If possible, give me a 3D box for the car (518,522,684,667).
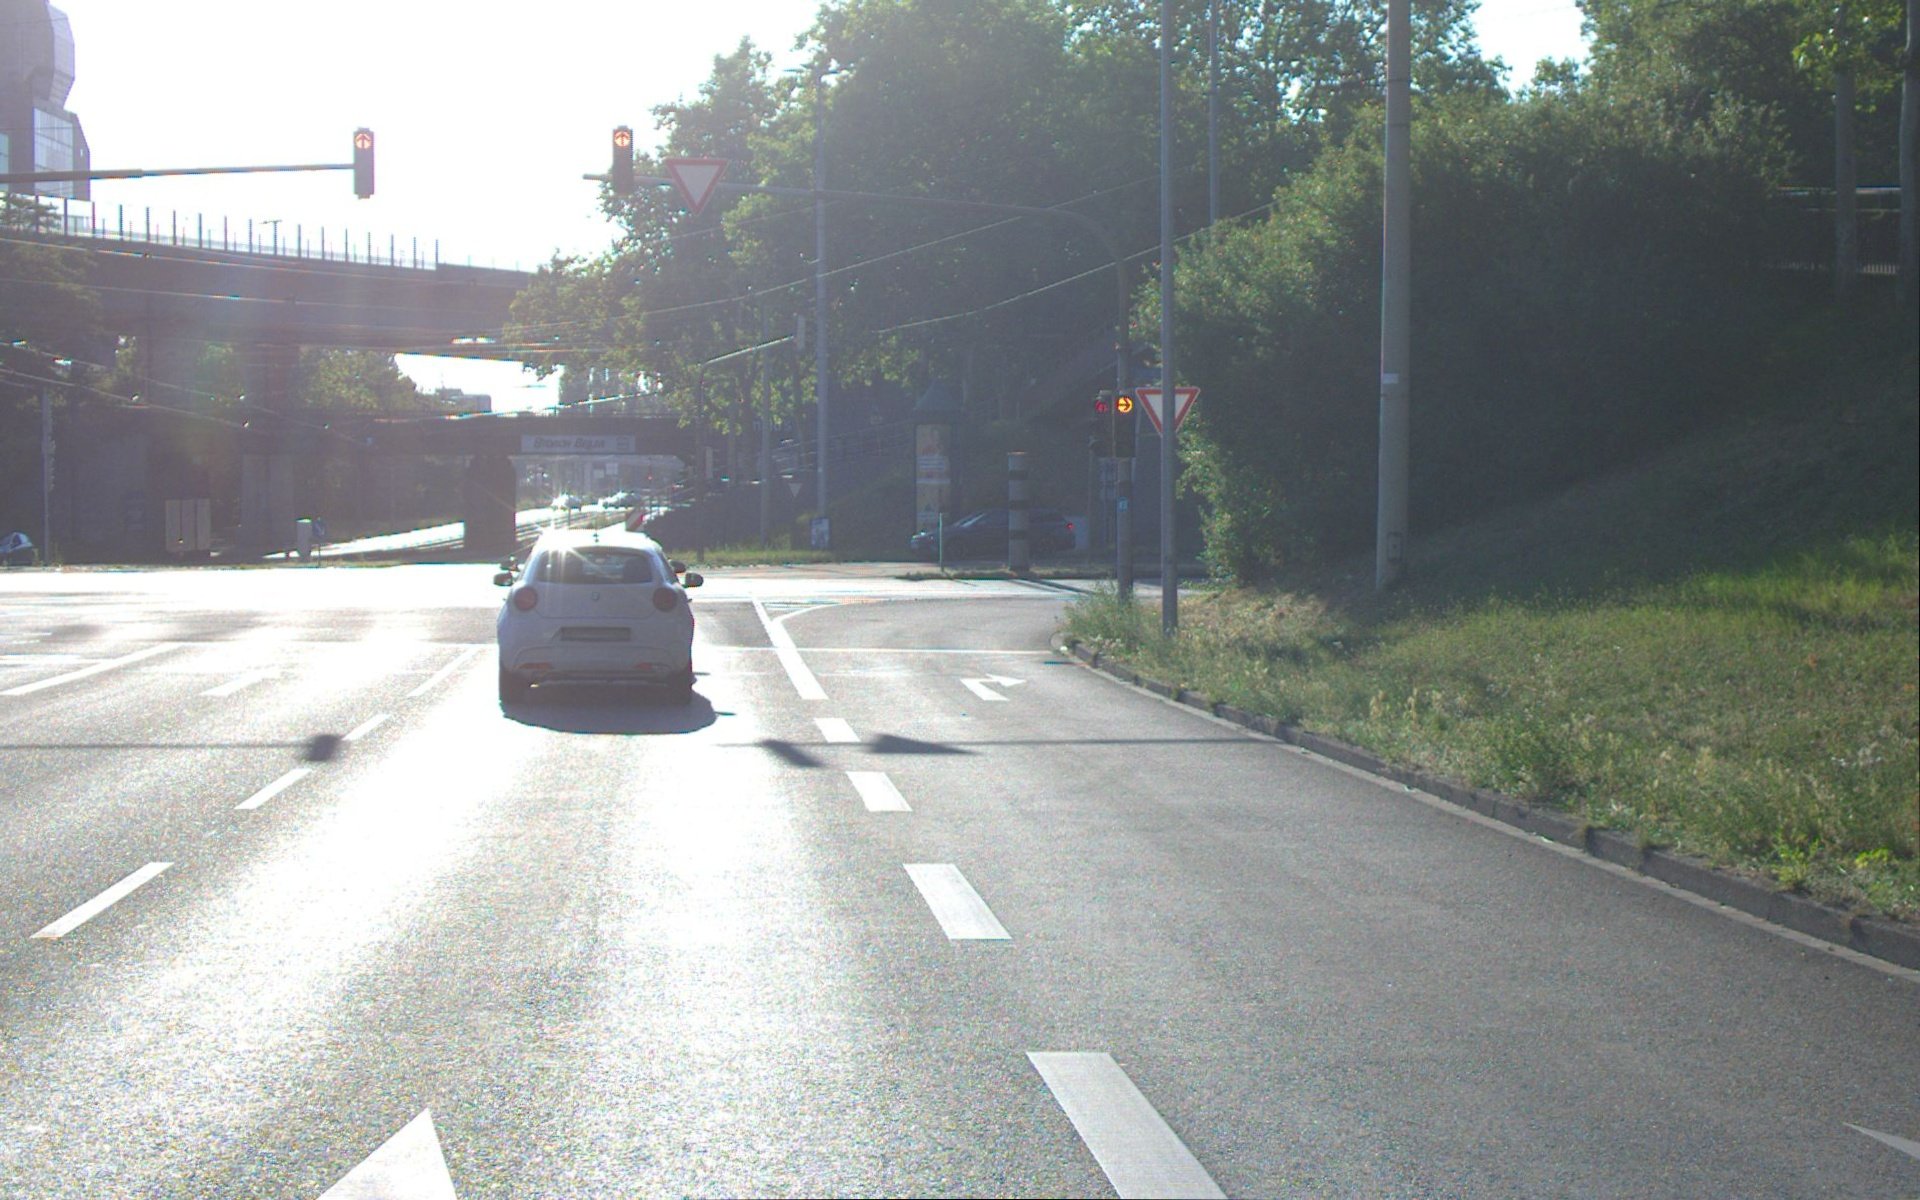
[{"bbox_3d":[-3.974,-0.105,37.719,1.713,1.460,4.208,0,2,-7],"label":"car"}]

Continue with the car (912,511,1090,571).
[{"bbox_3d":[1.135,-1.631,94.573,4.574,1.569,1.694,0,1,-21],"label":"car"}]

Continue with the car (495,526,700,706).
[{"bbox_3d":[-3.289,0.092,31.421,1.736,1.500,4.001,0,2,-5],"label":"car"}]
